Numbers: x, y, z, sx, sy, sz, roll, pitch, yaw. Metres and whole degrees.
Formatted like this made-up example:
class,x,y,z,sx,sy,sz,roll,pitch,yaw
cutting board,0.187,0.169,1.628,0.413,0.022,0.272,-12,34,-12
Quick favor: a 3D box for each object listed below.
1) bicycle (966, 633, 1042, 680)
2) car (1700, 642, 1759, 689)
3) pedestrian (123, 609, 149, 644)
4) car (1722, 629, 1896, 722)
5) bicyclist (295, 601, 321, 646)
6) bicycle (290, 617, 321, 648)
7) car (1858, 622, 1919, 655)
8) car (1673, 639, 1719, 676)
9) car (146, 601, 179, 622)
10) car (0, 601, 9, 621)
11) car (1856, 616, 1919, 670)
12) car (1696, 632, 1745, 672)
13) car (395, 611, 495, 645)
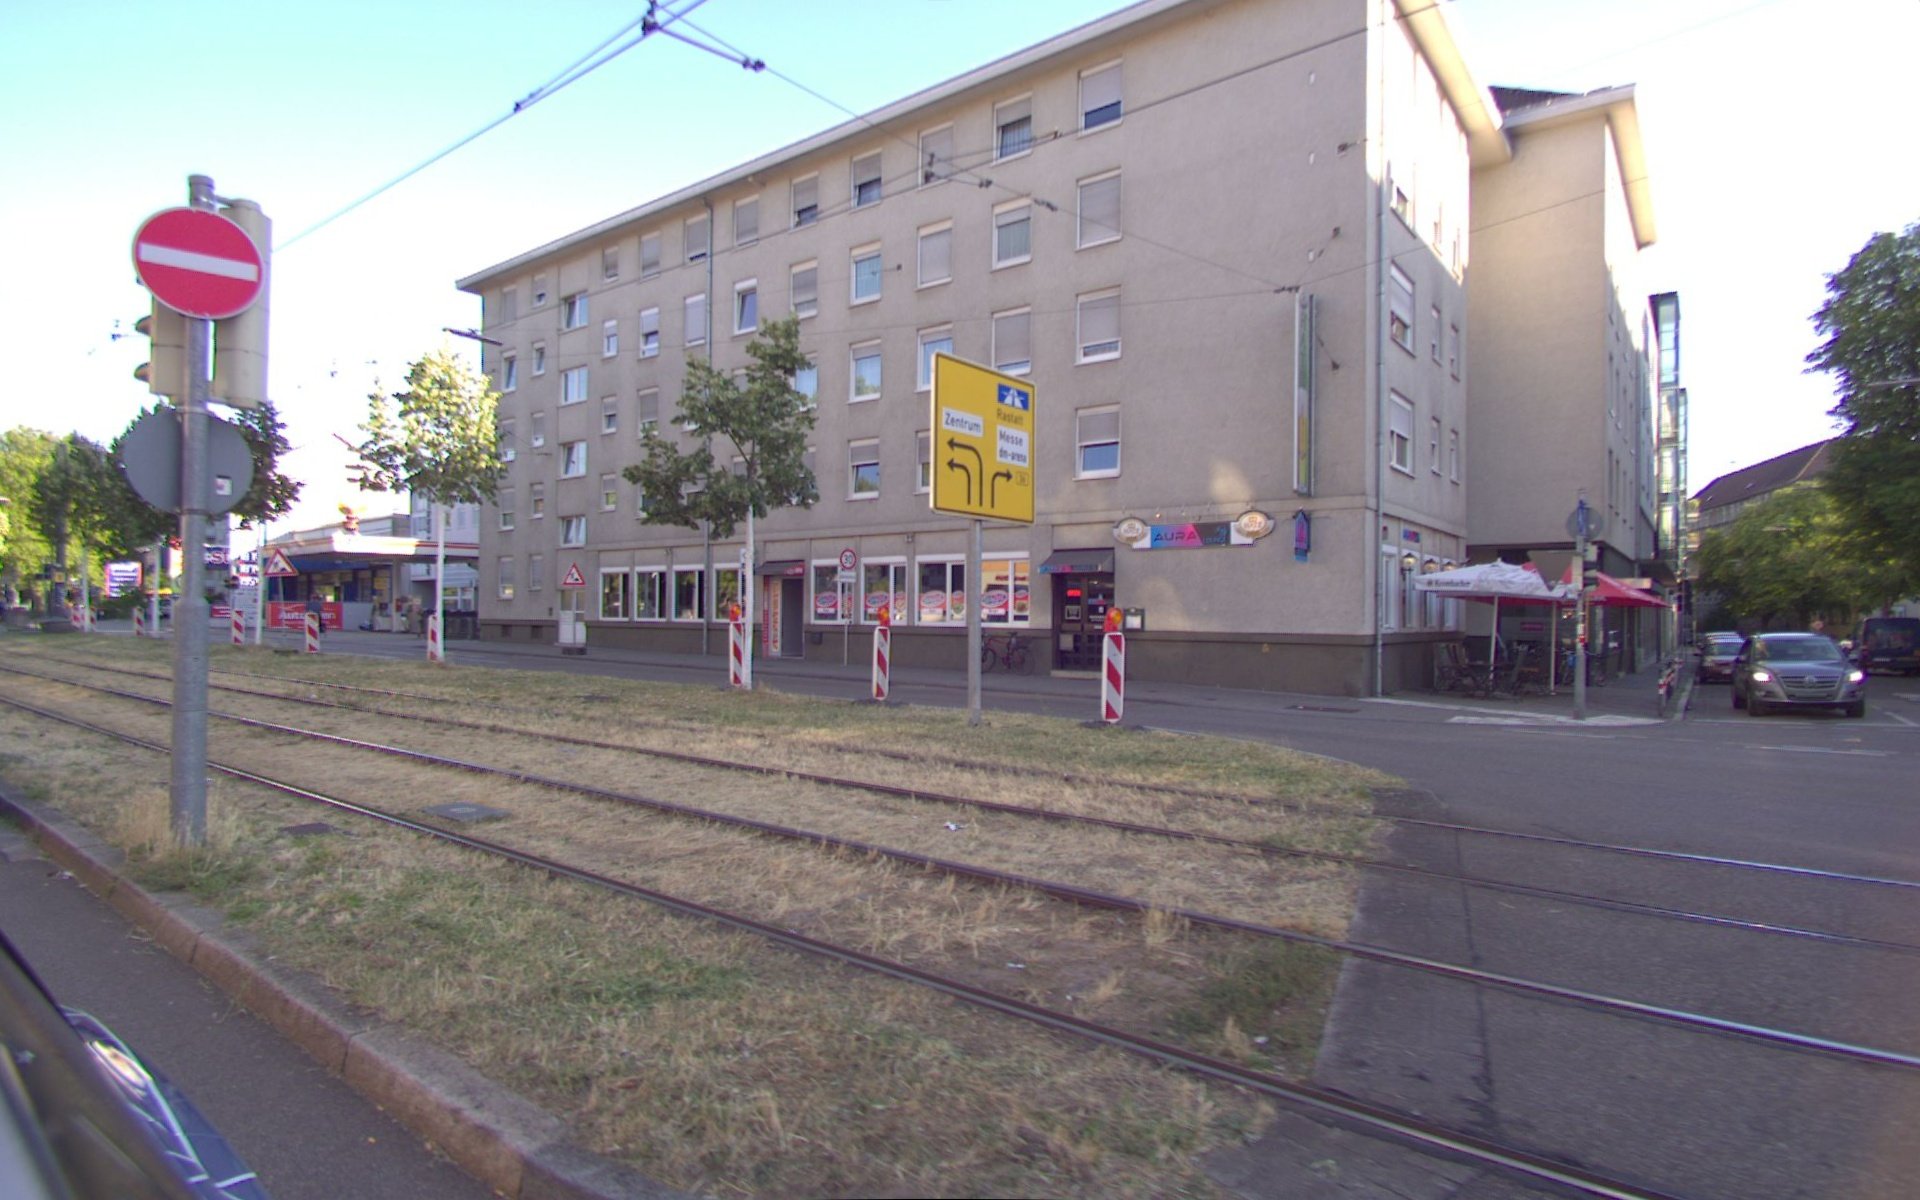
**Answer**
class,x,y,z,sx,sy,sz,roll,pitch,yaw
bicycle,1.059,1.357,24.617,1.842,1.031,0.602,0,0,38
car,25.602,2.134,33.671,1.502,1.321,3.094,0,0,38
pedestrian,-30.582,0.978,37.549,0.580,1.280,0.656,-1,-1,39
car,17.166,1.433,20.700,1.992,1.636,4.155,0,-1,30
bicyclist,-27.429,0.993,42.575,0.807,1.897,0.645,0,-2,36
bicycle,-27.621,1.367,42.703,1.867,1.267,0.451,-1,-1,37
car,54.327,2.208,58.608,3.487,1.809,1.679,0,0,42
car,29.823,2.307,41.088,1.428,1.286,3.316,0,0,35
car,-64.393,0.909,81.686,1.757,1.567,4.004,0,1,-43
car,-88.753,1.014,92.877,1.971,1.747,4.396,-1,1,-45
car,37.572,1.686,40.662,1.997,2.029,3.950,0,0,37
car,34.530,2.341,45.988,1.631,1.585,3.496,0,0,35
car,-23.718,1.292,46.698,1.905,1.480,3.683,-2,-3,37
